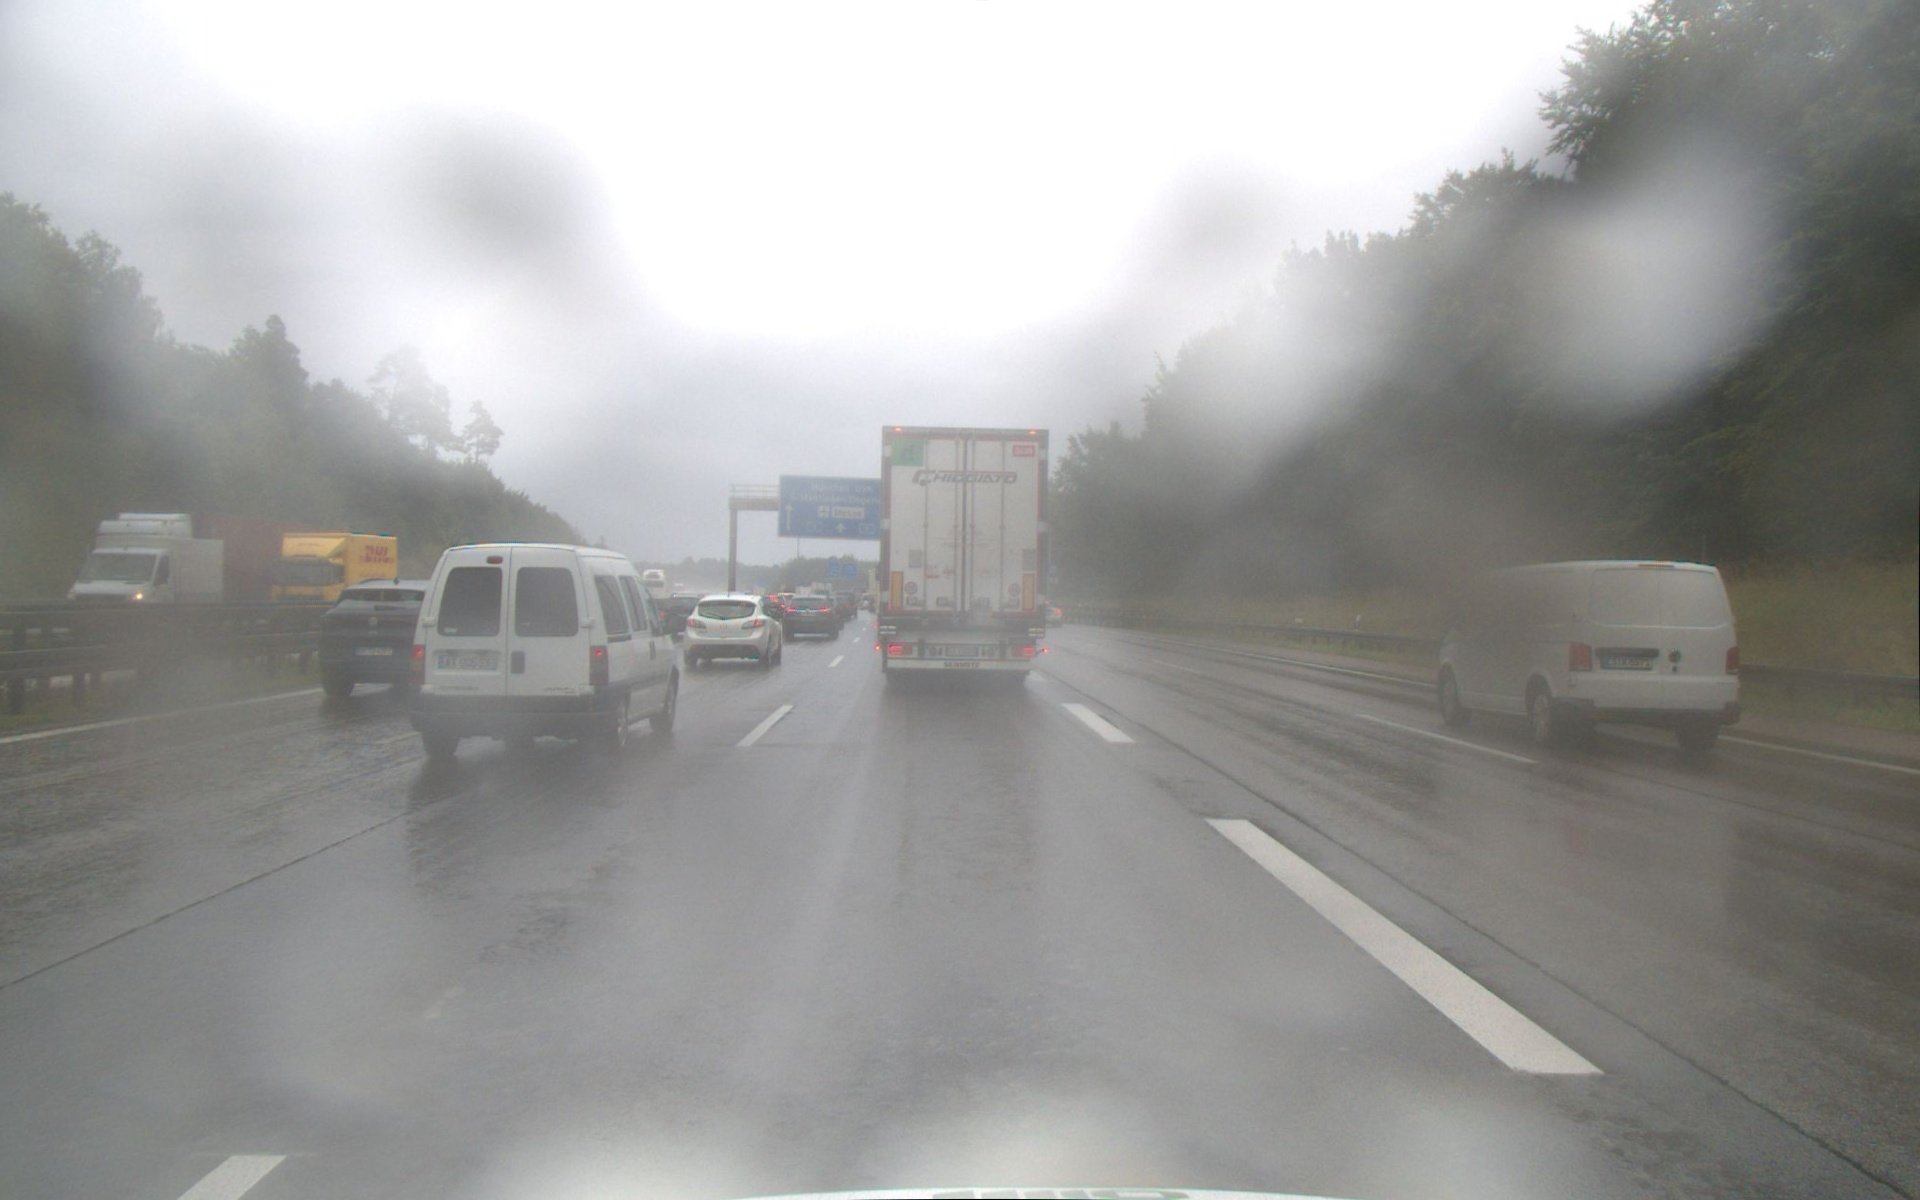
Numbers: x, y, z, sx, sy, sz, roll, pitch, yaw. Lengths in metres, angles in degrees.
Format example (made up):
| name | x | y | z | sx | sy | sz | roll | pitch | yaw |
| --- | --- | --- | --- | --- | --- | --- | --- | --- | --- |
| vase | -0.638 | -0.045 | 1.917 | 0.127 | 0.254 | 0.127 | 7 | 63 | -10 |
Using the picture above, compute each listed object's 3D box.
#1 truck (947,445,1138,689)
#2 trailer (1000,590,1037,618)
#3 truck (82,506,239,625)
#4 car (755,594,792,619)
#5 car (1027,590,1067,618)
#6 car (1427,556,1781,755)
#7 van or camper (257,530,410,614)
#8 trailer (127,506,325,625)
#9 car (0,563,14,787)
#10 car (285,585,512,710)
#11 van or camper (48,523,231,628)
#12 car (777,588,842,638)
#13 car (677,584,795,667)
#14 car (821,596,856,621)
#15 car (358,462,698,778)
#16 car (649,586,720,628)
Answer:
| name | x | y | z | sx | sy | sz | roll | pitch | yaw |
| --- | --- | --- | --- | --- | --- | --- | --- | --- | --- |
| truck | 1.311 | -0.492 | 30.502 | 2.813 | 3.624 | 11.302 | 1 | 0 | 1 |
| trailer | 3.845 | 0.224 | 109.954 | 2.198 | 1.744 | 5.081 | 1 | 1 | -1 |
| truck | -27.742 | -1.160 | 57.710 | 2.650 | 3.884 | 6.261 | 1 | 0 | -2 |
| car | -11.014 | 0.375 | 98.102 | 1.808 | 1.354 | 4.465 | 1 | 1 | -2 |
| car | 4.673 | 0.201 | 89.494 | 1.755 | 1.431 | 4.226 | 1 | 0 | -3 |
| car | 7.066 | 0.529 | 18.790 | 1.950 | 1.954 | 4.764 | 1 | 1 | -3 |
| van or camper | -24.251 | -1.045 | 64.572 | 2.785 | 3.030 | 8.783 | 1 | 0 | -2 |
| trailer | -28.015 | -1.219 | 63.992 | 2.566 | 4.096 | 12.368 | 1 | 0 | -2 |
| car | -7.789 | 0.551 | 9.854 | 1.808 | 1.619 | 4.465 | 1 | 1 | -1 |
| car | -8.003 | 0.606 | 24.025 | 1.808 | 1.619 | 4.466 | 1 | 1 | -1 |
| van or camper | -21.593 | -0.641 | 43.892 | 2.154 | 2.592 | 6.115 | 0 | 1 | -4 |
| car | -5.107 | 0.403 | 56.633 | 1.808 | 1.619 | 4.466 | 1 | 1 | 0 |
| car | -4.657 | 0.486 | 34.969 | 1.807 | 1.619 | 4.073 | 1 | 1 | 2 |
| car | -7.067 | 0.471 | 96.361 | 1.808 | 1.354 | 4.465 | 1 | 1 | -2 |
| car | -4.017 | 0.148 | 16.378 | 2.168 | 2.618 | 5.014 | 1 | 1 | -2 |
| car | -9.483 | 0.202 | 57.199 | 1.808 | 1.354 | 4.465 | 1 | 1 | -2 |
